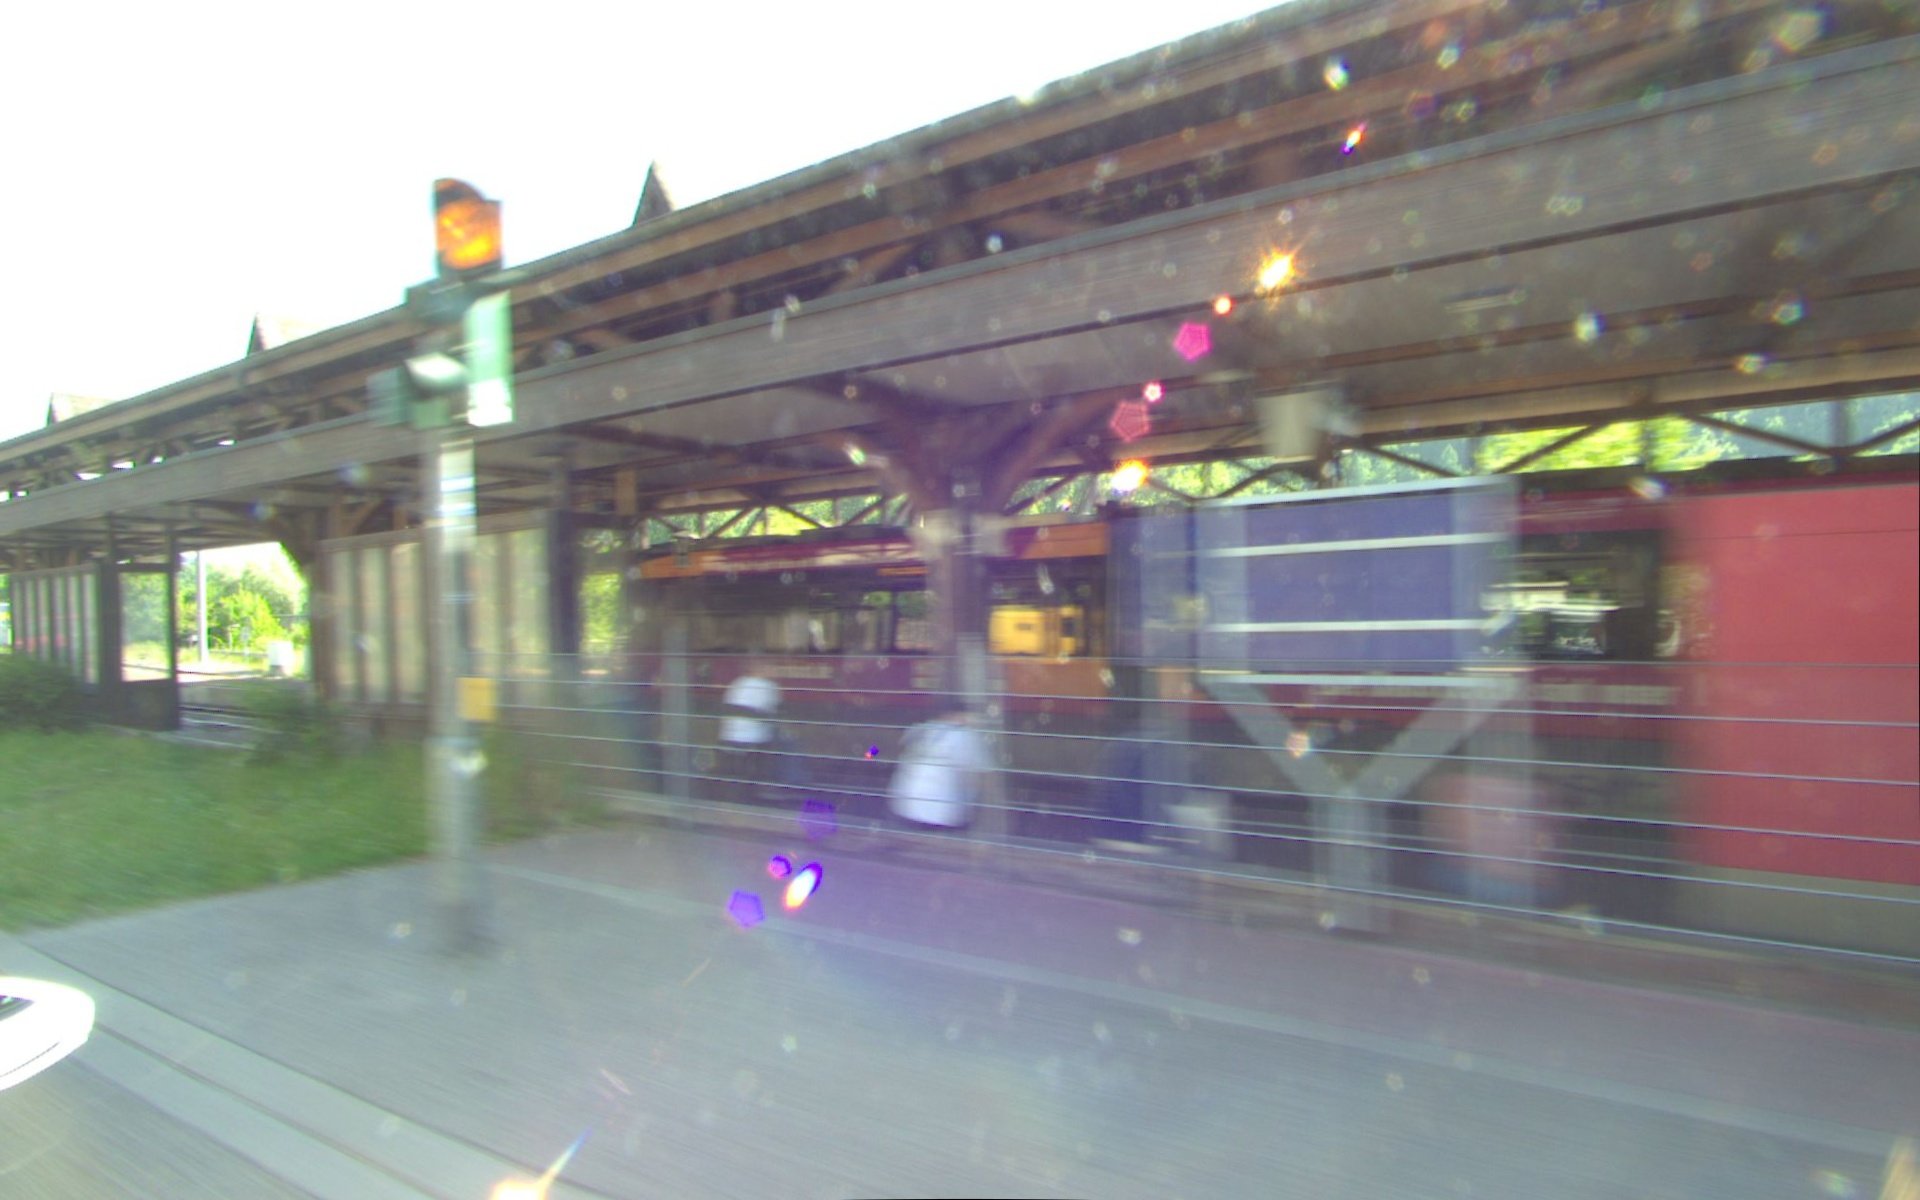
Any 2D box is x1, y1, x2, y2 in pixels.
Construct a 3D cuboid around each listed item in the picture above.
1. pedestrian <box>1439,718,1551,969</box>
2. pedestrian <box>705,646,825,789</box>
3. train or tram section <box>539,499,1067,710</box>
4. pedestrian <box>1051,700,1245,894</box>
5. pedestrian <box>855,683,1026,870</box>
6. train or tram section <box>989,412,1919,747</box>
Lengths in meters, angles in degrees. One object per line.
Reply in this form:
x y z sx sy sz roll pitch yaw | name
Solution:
2.418 1.054 4.526 0.400 0.978 0.617 1 -1 29 | pedestrian
-1.662 0.975 8.586 0.657 1.130 0.742 1 -1 29 | pedestrian
-3.769 0.142 20.551 11.877 3.406 2.751 0 -2 33 | train or tram section
1.026 1.005 5.386 0.796 0.885 0.844 -2 -3 29 | pedestrian
-0.106 1.036 6.159 0.757 0.995 0.742 1 -2 29 | pedestrian
6.211 -0.059 14.090 11.876 3.406 2.782 -1 -3 32 | train or tram section
